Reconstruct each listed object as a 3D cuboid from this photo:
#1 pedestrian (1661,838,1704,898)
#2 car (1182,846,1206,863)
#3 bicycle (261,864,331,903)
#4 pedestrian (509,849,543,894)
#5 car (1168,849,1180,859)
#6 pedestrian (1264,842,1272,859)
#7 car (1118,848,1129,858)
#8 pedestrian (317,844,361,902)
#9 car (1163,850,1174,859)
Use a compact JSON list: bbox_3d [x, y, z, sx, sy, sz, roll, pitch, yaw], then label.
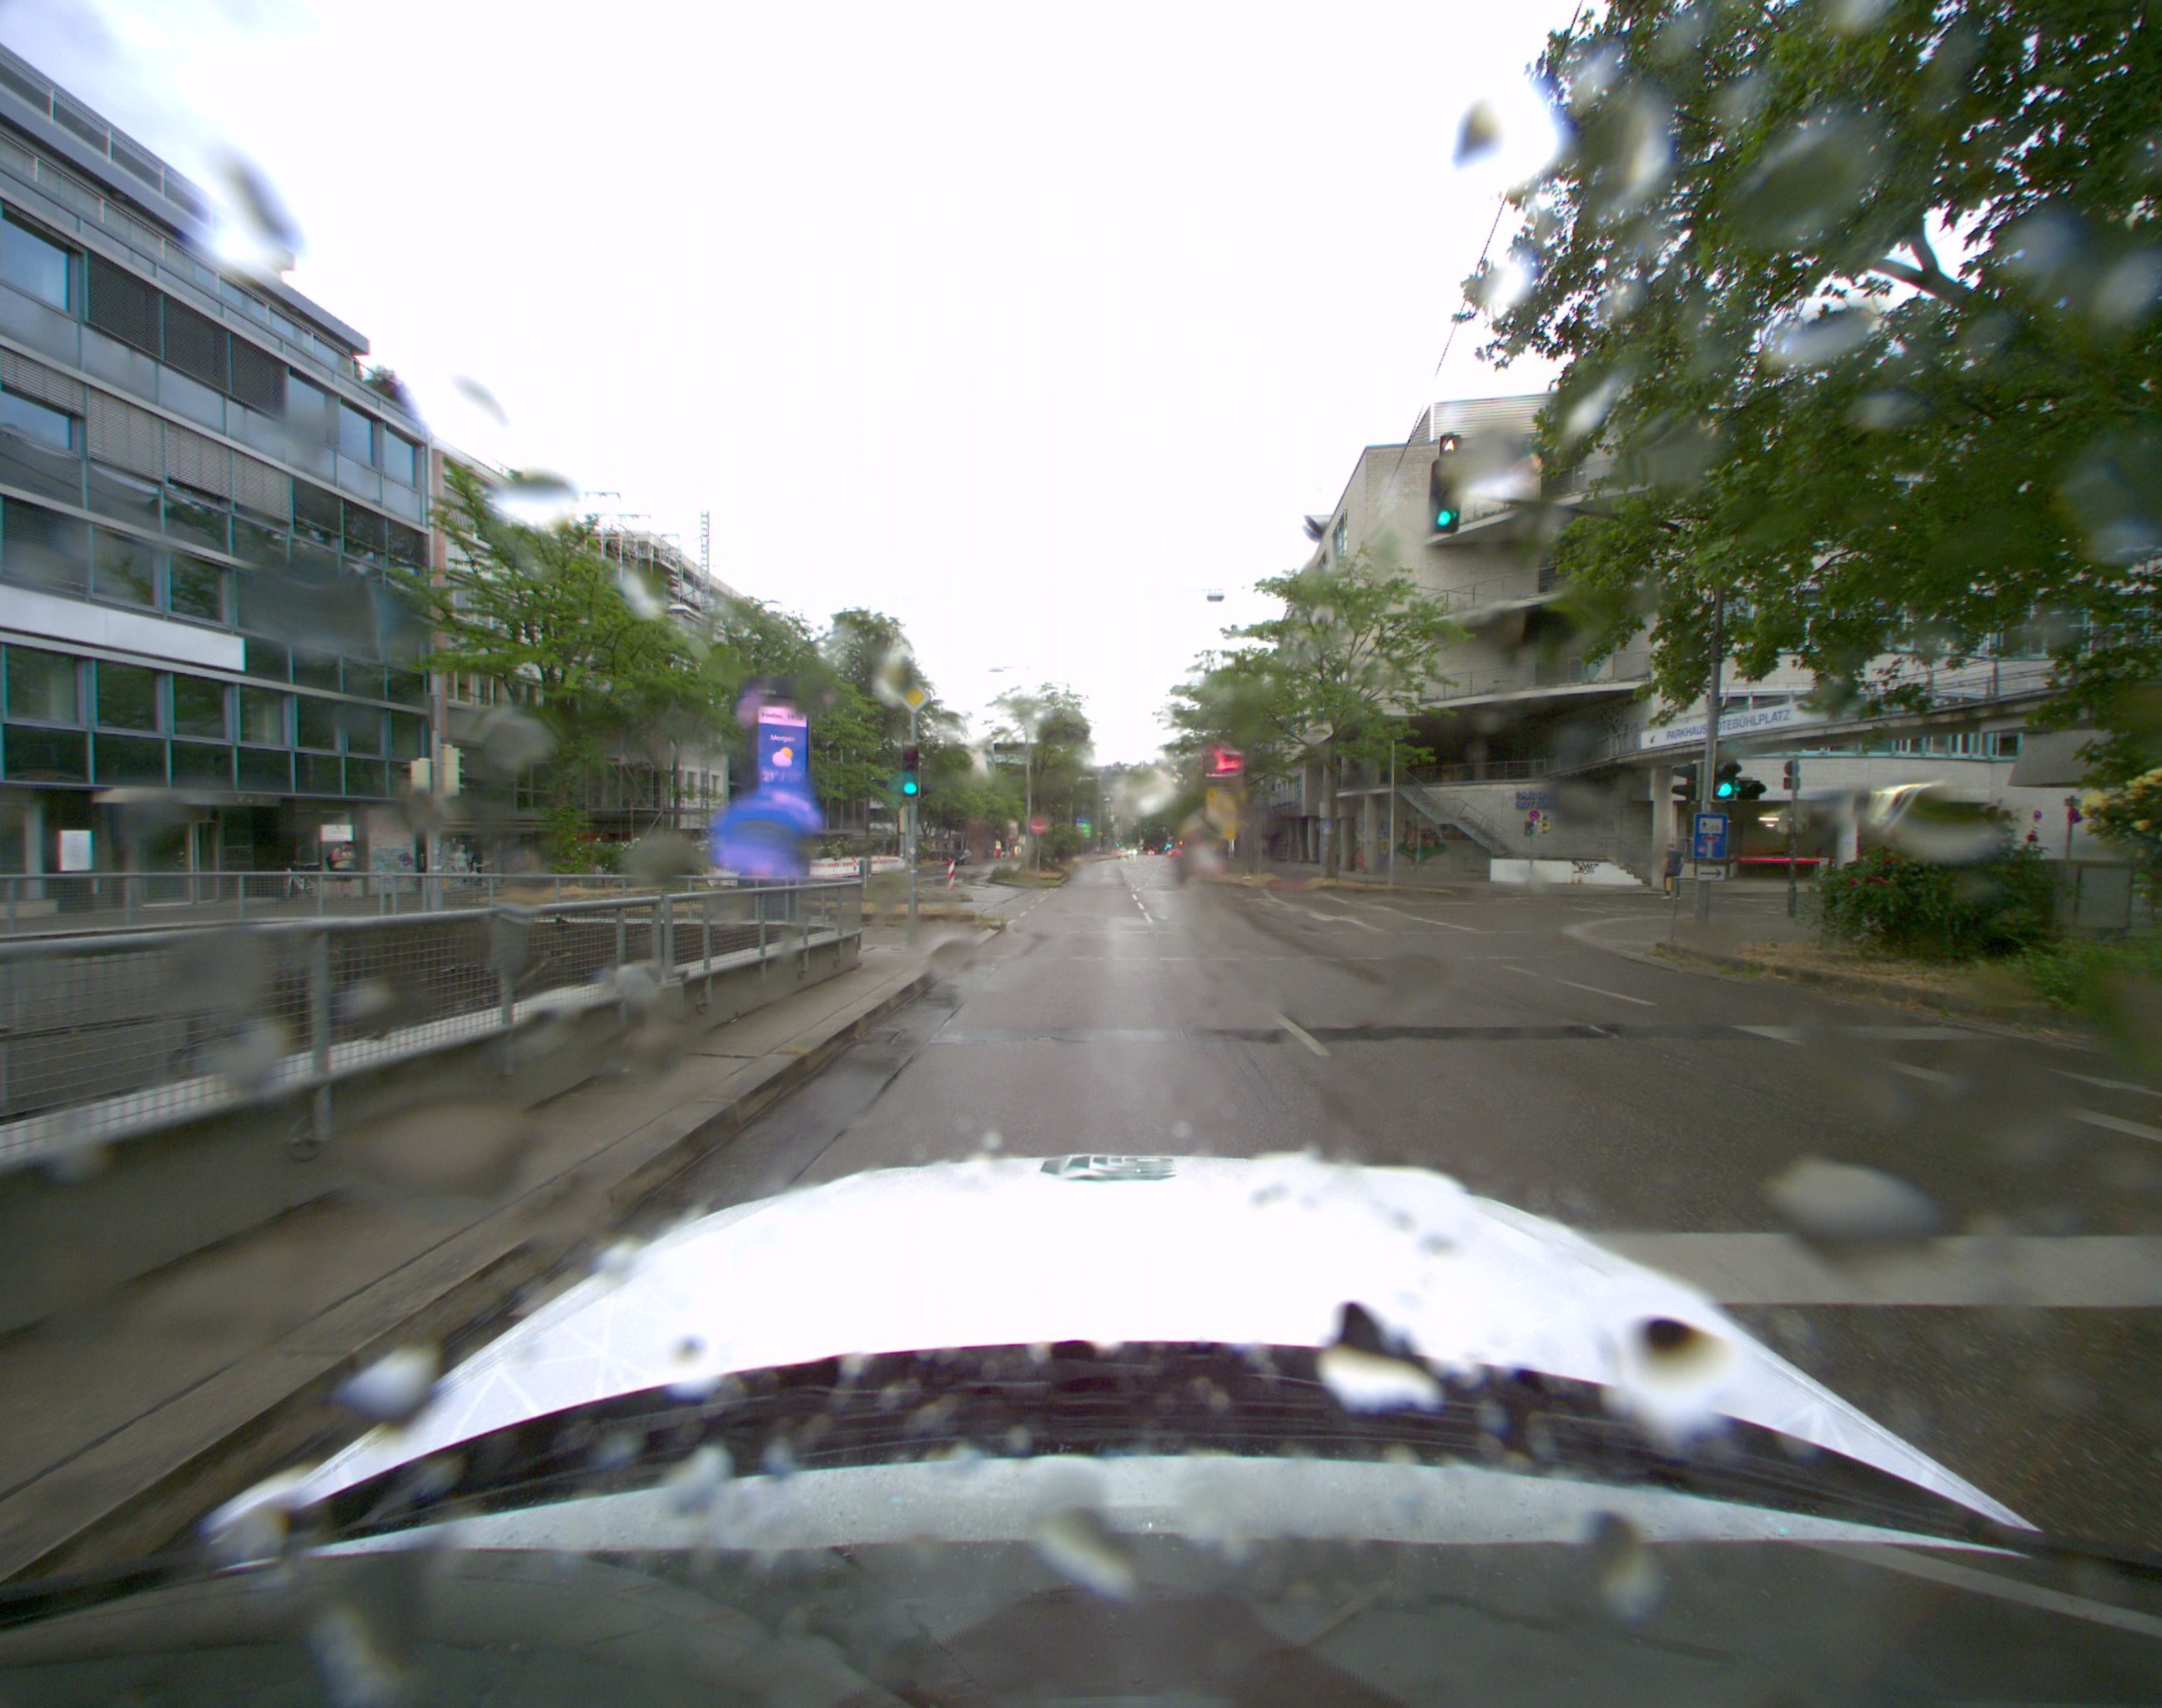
[{"bbox_3d":[19.451,0.440,26.363,0.843,1.910,0.758,0,0,1],"label":"pedestrian"},{"bbox_3d":[11.553,0.019,83.141,2.324,1.691,4.010,0,0,9],"label":"car"},{"bbox_3d":[-22.953,0.834,23.842,0.444,1.085,1.567,0,0,6],"label":"bicycle"},{"bbox_3d":[-21.744,0.670,31.905,0.691,1.741,0.876,1,0,-1],"label":"pedestrian"},{"bbox_3d":[17.670,0.036,155.300,1.986,1.724,4.000,0,-1,1],"label":"car"},{"bbox_3d":[20.696,-0.365,90.108,0.770,1.920,0.705,-1,-1,12],"label":"pedestrian"},{"bbox_3d":[7.207,-0.223,138.245,1.821,1.640,4.304,1,0,3],"label":"car"},{"bbox_3d":[-22.807,0.587,25.043,0.694,1.741,0.694,1,0,-4],"label":"pedestrian"},{"bbox_3d":[17.902,0.066,166.435,1.986,1.736,4.001,0,-1,2],"label":"car"}]
